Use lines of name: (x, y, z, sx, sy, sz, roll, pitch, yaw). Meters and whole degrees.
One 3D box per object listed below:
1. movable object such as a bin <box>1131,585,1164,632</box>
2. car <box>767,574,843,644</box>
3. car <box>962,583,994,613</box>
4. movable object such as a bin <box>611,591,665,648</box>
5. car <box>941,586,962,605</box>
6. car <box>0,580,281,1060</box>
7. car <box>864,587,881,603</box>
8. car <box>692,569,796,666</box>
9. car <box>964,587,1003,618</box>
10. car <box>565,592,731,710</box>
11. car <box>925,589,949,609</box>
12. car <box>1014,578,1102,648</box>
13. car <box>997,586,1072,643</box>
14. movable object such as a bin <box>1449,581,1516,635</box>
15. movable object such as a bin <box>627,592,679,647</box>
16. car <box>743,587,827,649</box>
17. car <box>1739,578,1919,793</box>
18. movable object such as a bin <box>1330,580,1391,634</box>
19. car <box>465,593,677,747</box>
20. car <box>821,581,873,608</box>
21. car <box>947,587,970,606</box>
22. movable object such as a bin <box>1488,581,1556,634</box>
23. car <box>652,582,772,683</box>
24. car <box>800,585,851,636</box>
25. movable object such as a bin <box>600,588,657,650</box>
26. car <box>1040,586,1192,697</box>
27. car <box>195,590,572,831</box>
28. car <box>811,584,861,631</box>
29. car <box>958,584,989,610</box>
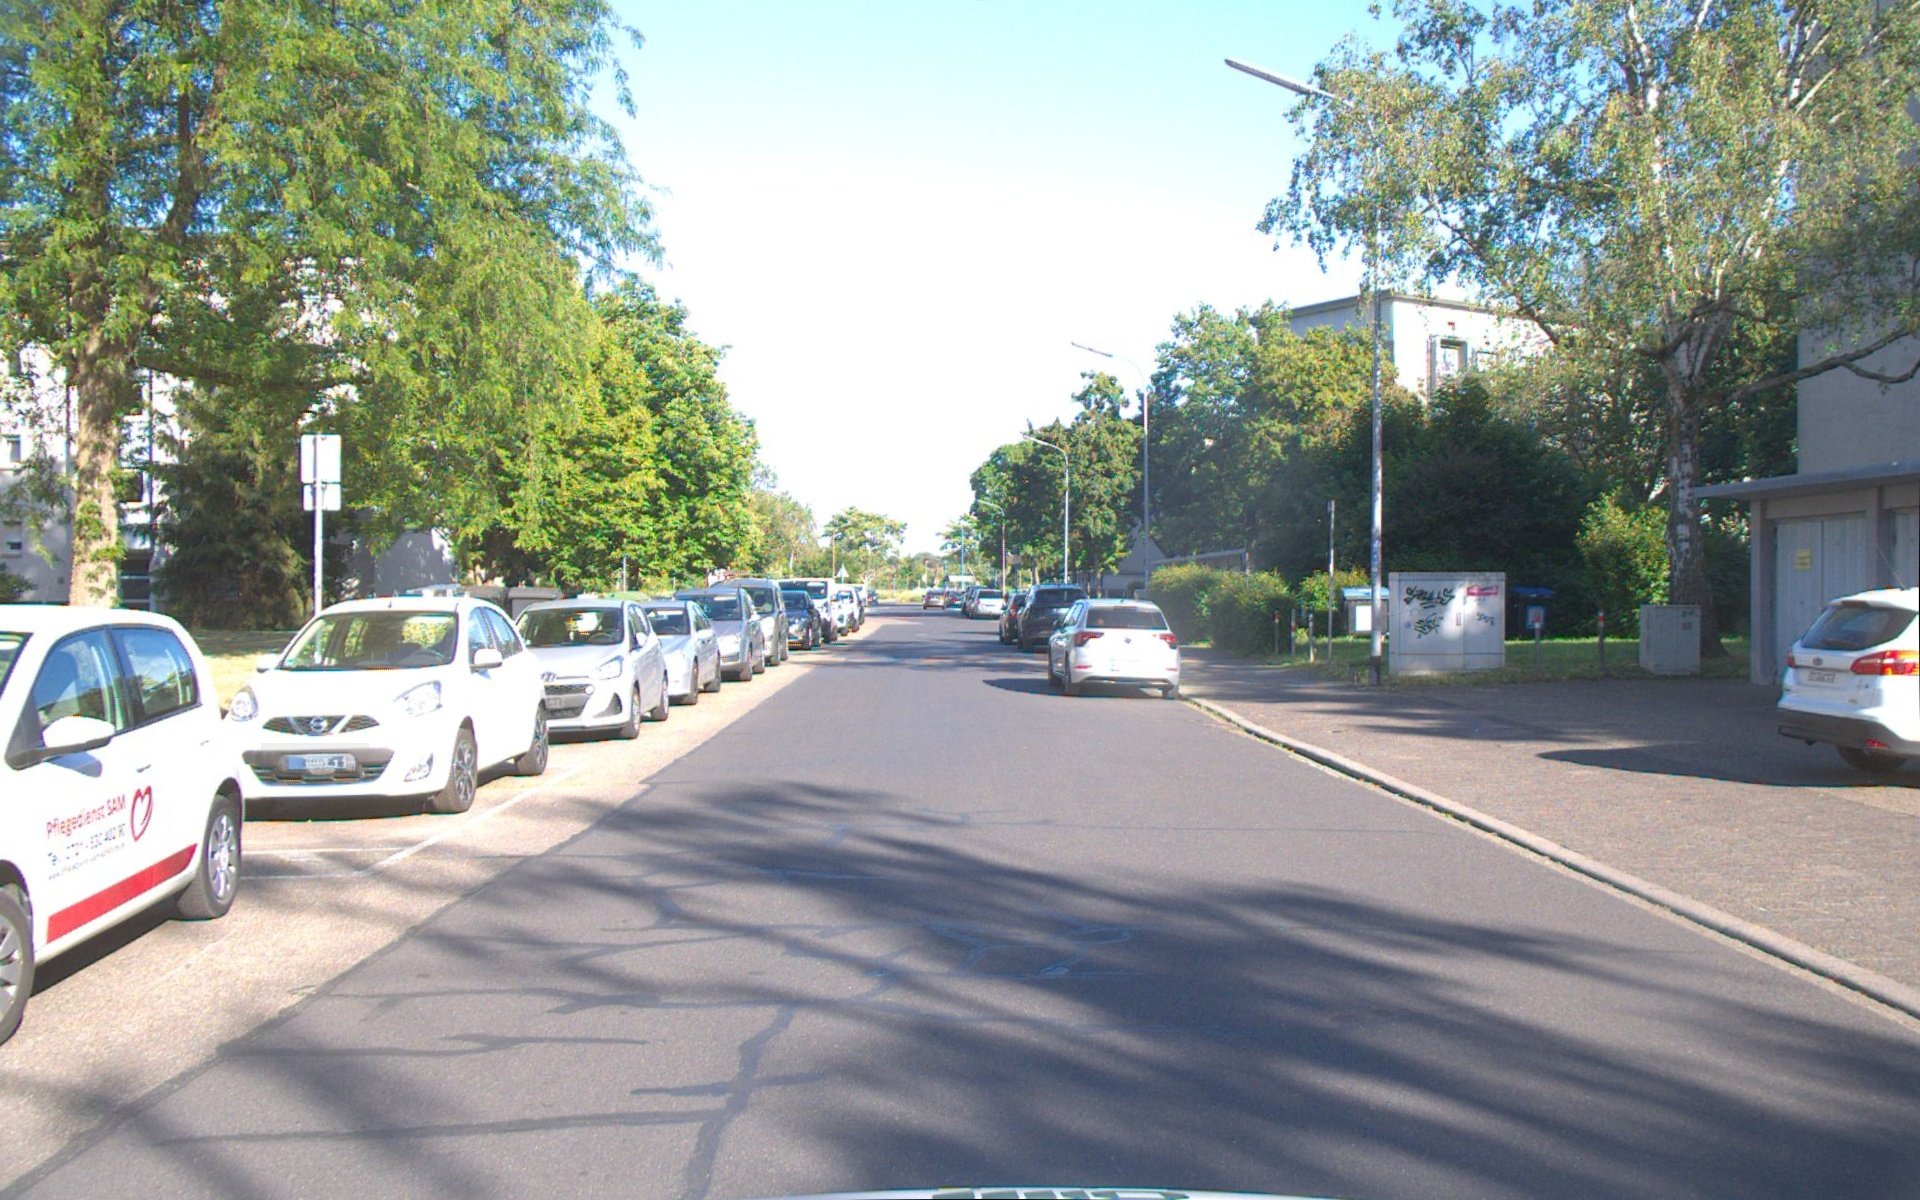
movable object such as a bin: (6.009, 0.271, 53.034, 0.898, 1.479, 1.232, 0, 0, -1)
car: (-4.724, 0.240, 51.046, 1.876, 1.997, 5.087, -1, 0, -1)
car: (1.104, -0.162, 104.024, 1.760, 1.818, 3.949, 1, 0, -3)
movable object such as a bin: (-8.255, 0.497, 42.446, 1.079, 1.395, 1.361, 2, 0, -1)
car: (-0.781, -0.417, 150.746, 1.760, 1.672, 3.949, 1, 0, -3)
car: (-4.077, 0.717, 6.591, 1.631, 1.539, 3.532, -1, 0, -7)
car: (-9.341, -0.526, 176.249, 1.760, 1.589, 3.949, 1, 0, -3)
car: (-4.578, 0.341, 35.629, 1.817, 1.925, 4.416, -1, 0, -3)
car: (1.218, 0.112, 88.070, 1.760, 1.589, 3.949, 1, 0, -3)
car: (-4.470, 0.674, 24.330, 1.652, 1.490, 4.524, -2, 0, -2)
car: (-1.793, -0.087, 129.012, 1.646, 1.540, 4.101, 2, 0, -3)
car: (2.430, 0.303, 42.024, 1.869, 1.668, 4.627, 1, 0, -1)
car: (2.107, 0.394, 47.883, 1.869, 1.557, 4.327, 1, 0, -1)
movable object such as a bin: (13.535, 0.193, 42.876, 1.232, 1.376, 1.276, 0, 0, -10)
movable object such as a bin: (-8.135, 0.507, 43.854, 1.079, 1.380, 1.361, 2, 0, -1)
car: (-4.660, 0.439, 44.611, 1.710, 1.560, 4.139, -1, 0, 1)
car: (8.701, 0.584, 12.960, 4.325, 1.540, 1.828, -1, 0, -1)
movable object such as a bin: (10.385, 0.179, 42.949, 1.229, 1.376, 1.278, 0, 0, -2)
car: (-4.289, 0.702, 18.783, 1.653, 1.532, 3.816, -1, 0, -3)
car: (-8.864, -0.410, 129.918, 3.976, 2.027, 1.799, 1, 0, -6)
car: (-0.177, -0.302, 143.305, 1.760, 1.576, 3.949, 1, 0, -3)
movable object such as a bin: (14.809, 0.198, 43.621, 1.232, 1.376, 1.275, 0, 0, -12)
car: (-4.393, 0.534, 29.754, 1.675, 1.628, 3.984, -2, 0, -3)
car: (-4.774, 0.352, 59.107, 1.712, 1.699, 4.375, -1, 0, -4)
movable object such as a bin: (-8.191, 0.463, 40.951, 1.079, 1.445, 1.360, 2, 0, -1)
car: (2.348, 0.586, 25.864, 1.718, 1.540, 4.101, 2, 0, -3)
car: (-4.284, 0.719, 12.932, 1.652, 1.561, 3.889, -1, 0, -2)
car: (-4.846, 0.270, 64.948, 1.711, 1.762, 4.004, -1, 0, -1)
car: (0.869, -0.205, 108.247, 1.760, 1.672, 3.949, 1, 0, -3)
